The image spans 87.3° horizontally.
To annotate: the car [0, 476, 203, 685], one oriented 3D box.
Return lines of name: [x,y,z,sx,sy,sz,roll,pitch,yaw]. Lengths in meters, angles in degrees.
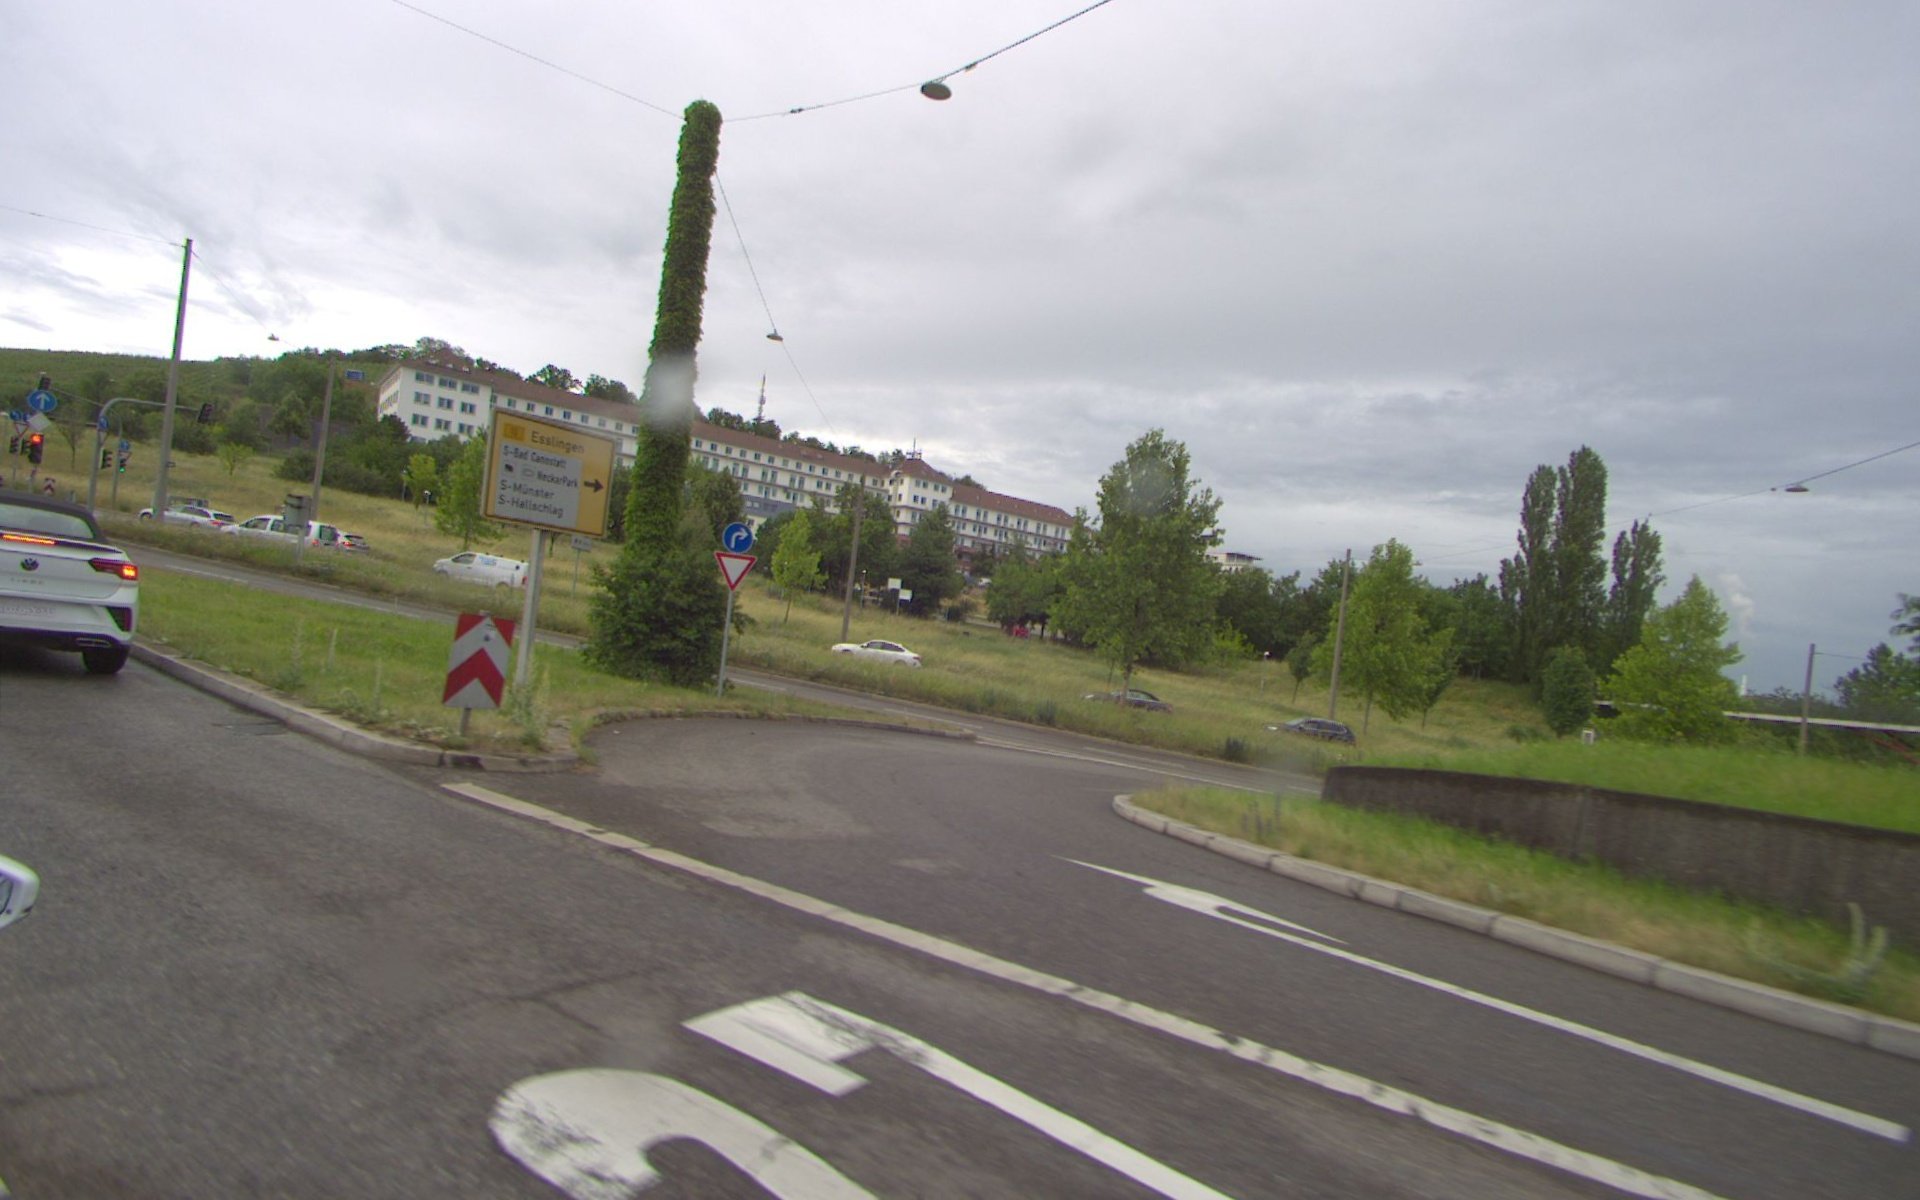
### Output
car: [-9.225,-0.361,9.527,4.061,1.596,1.999,7,-3,36]

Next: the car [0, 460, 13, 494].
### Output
car: [-53.946,-7.014,53.762,4.485,1.733,1.997,10,1,-5]

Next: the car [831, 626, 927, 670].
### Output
car: [-3.912,2.312,49.167,4.283,1.305,1.874,11,1,4]

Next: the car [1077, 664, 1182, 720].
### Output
car: [8.150,4.424,48.715,4.582,1.733,1.873,10,1,0]

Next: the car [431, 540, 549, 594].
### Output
car: [-23.517,-1.637,50.470,4.806,1.712,2.001,10,-1,4]

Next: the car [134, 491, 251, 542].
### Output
car: [-39.700,-4.316,52.113,4.480,1.624,2.001,11,0,4]

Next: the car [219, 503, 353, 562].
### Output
car: [-30.043,-3.002,44.921,4.481,1.733,1.999,10,1,1]

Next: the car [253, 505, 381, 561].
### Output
car: [-30.404,-3.133,47.670,4.582,1.733,1.999,10,1,1]

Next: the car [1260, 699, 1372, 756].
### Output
car: [17.338,6.195,49.134,4.582,1.733,1.873,10,1,1]
